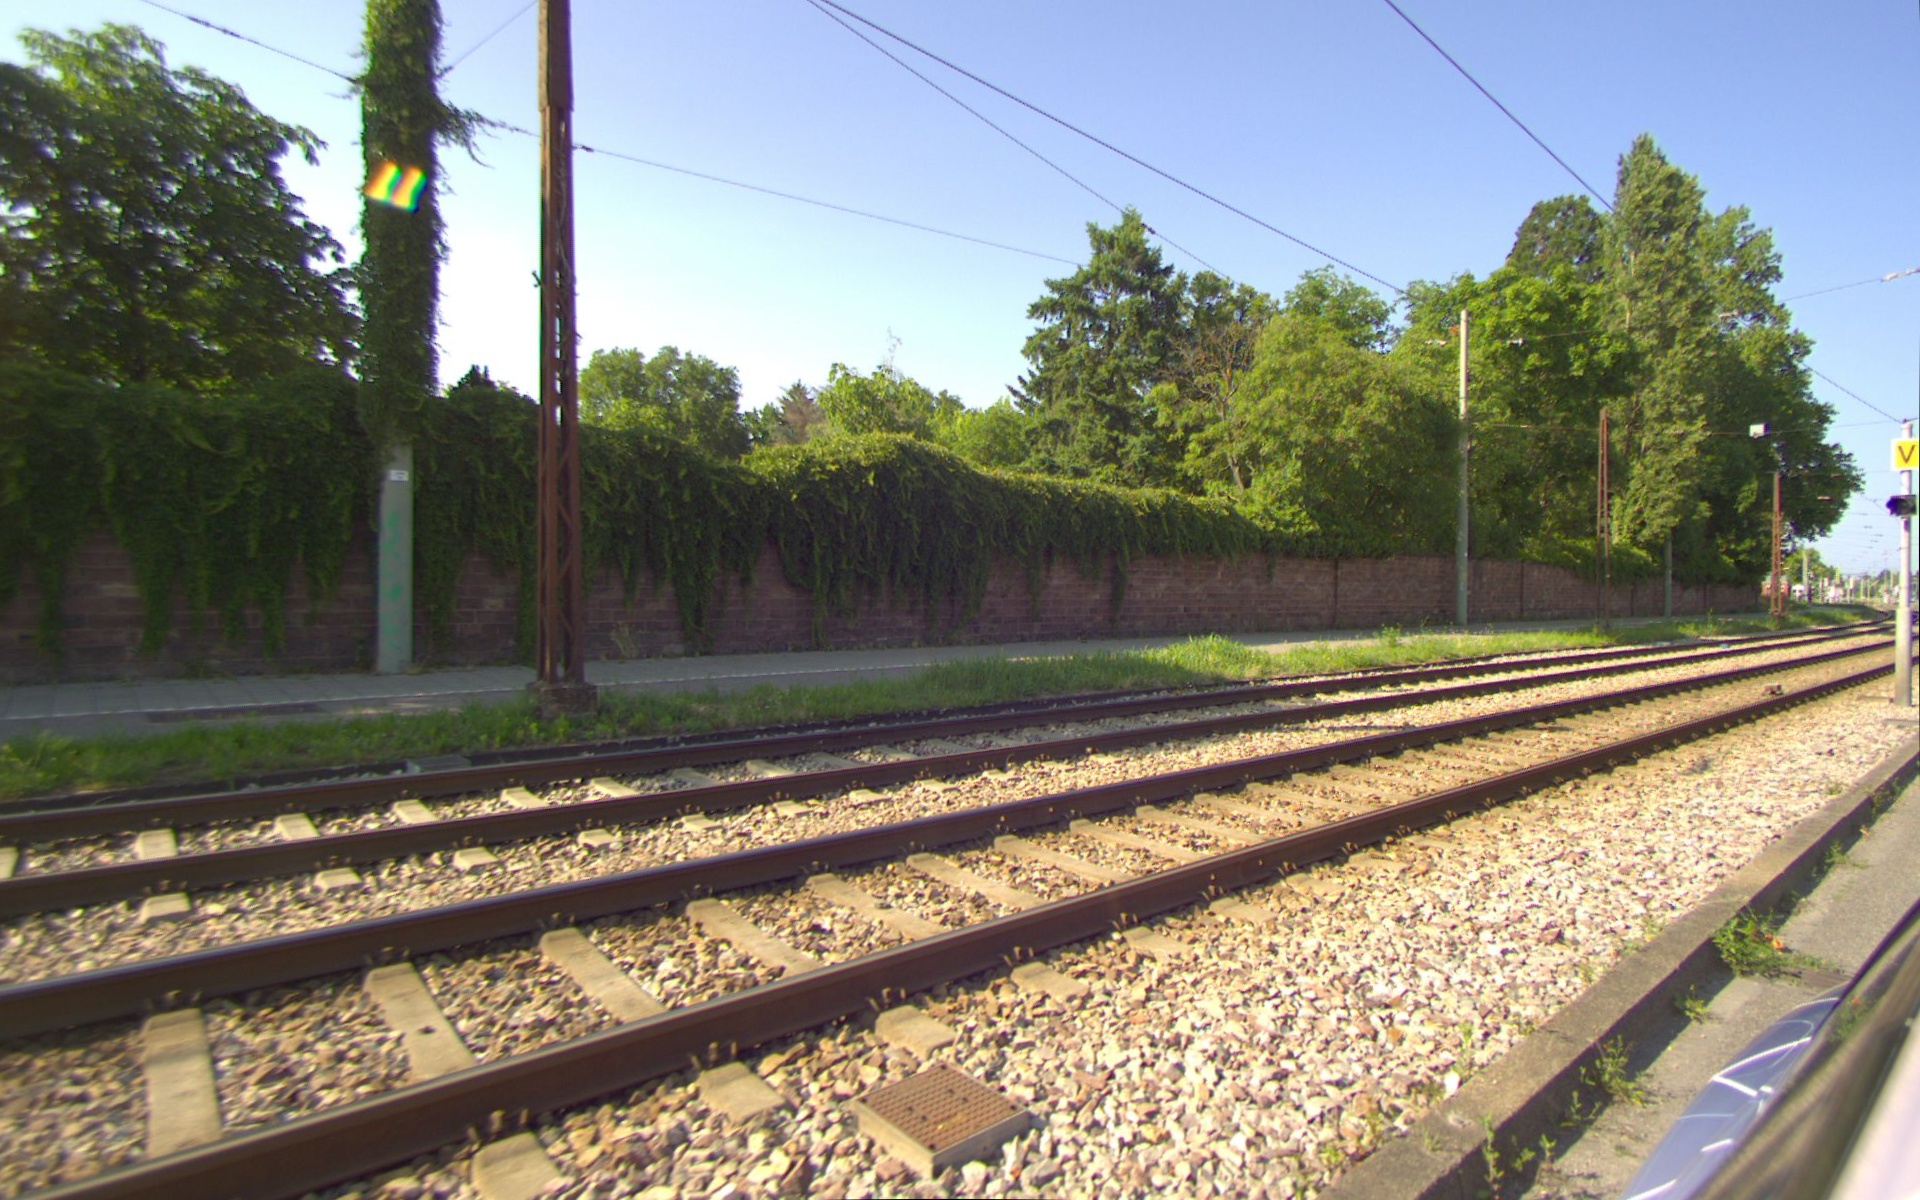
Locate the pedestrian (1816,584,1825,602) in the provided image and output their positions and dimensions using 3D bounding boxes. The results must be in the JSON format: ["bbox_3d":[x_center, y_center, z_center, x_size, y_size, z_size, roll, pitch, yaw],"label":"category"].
[{"bbox_3d":[84.422,-0.668,99.286,0.869,1.737,0.501,0,1,-40],"label":"pedestrian"}]
